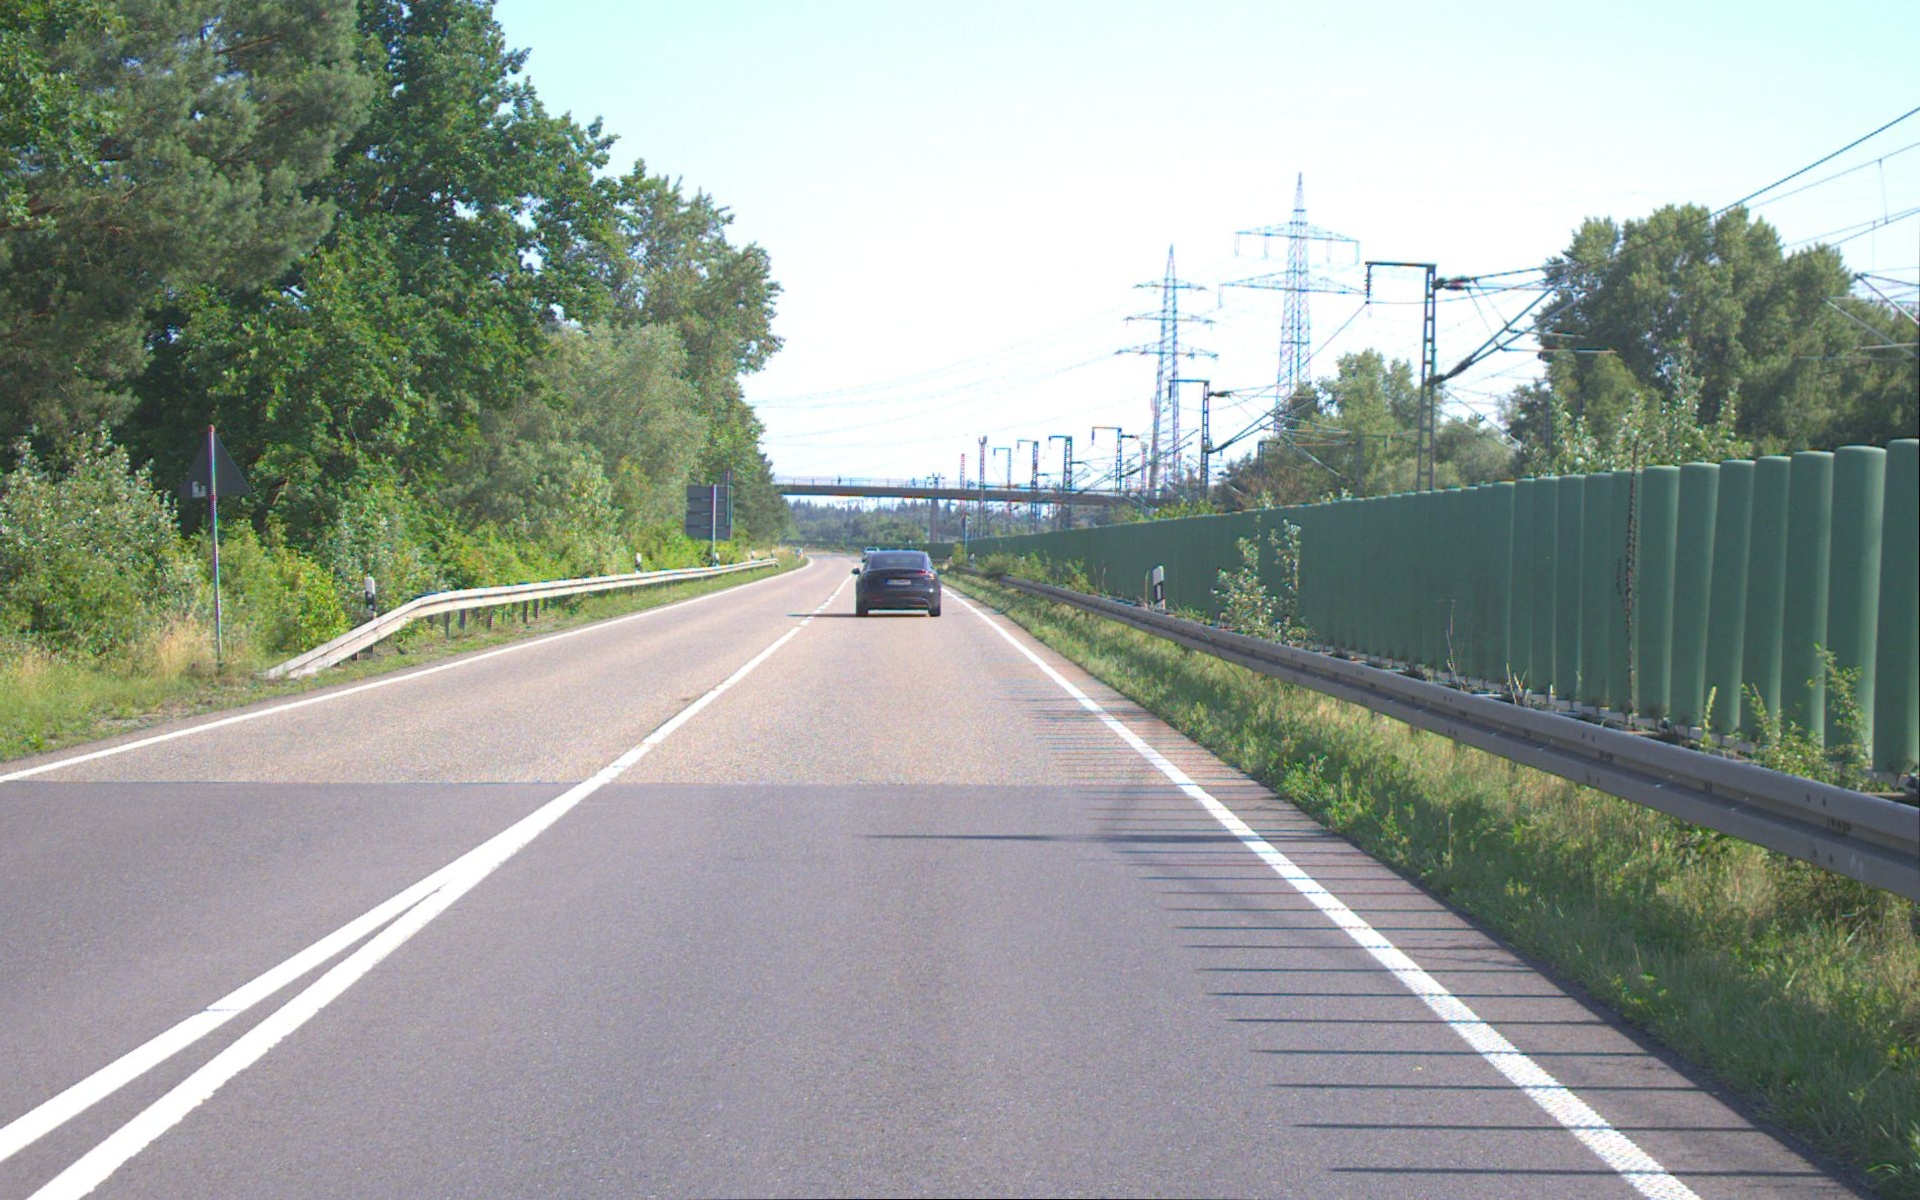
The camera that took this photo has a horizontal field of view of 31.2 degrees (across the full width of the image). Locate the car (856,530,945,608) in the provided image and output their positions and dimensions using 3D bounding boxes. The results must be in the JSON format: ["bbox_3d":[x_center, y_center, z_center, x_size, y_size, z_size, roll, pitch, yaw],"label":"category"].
[{"bbox_3d":[-1.319,-0.703,75.172,1.858,1.636,4.001,-1,1,-2],"label":"car"}]
